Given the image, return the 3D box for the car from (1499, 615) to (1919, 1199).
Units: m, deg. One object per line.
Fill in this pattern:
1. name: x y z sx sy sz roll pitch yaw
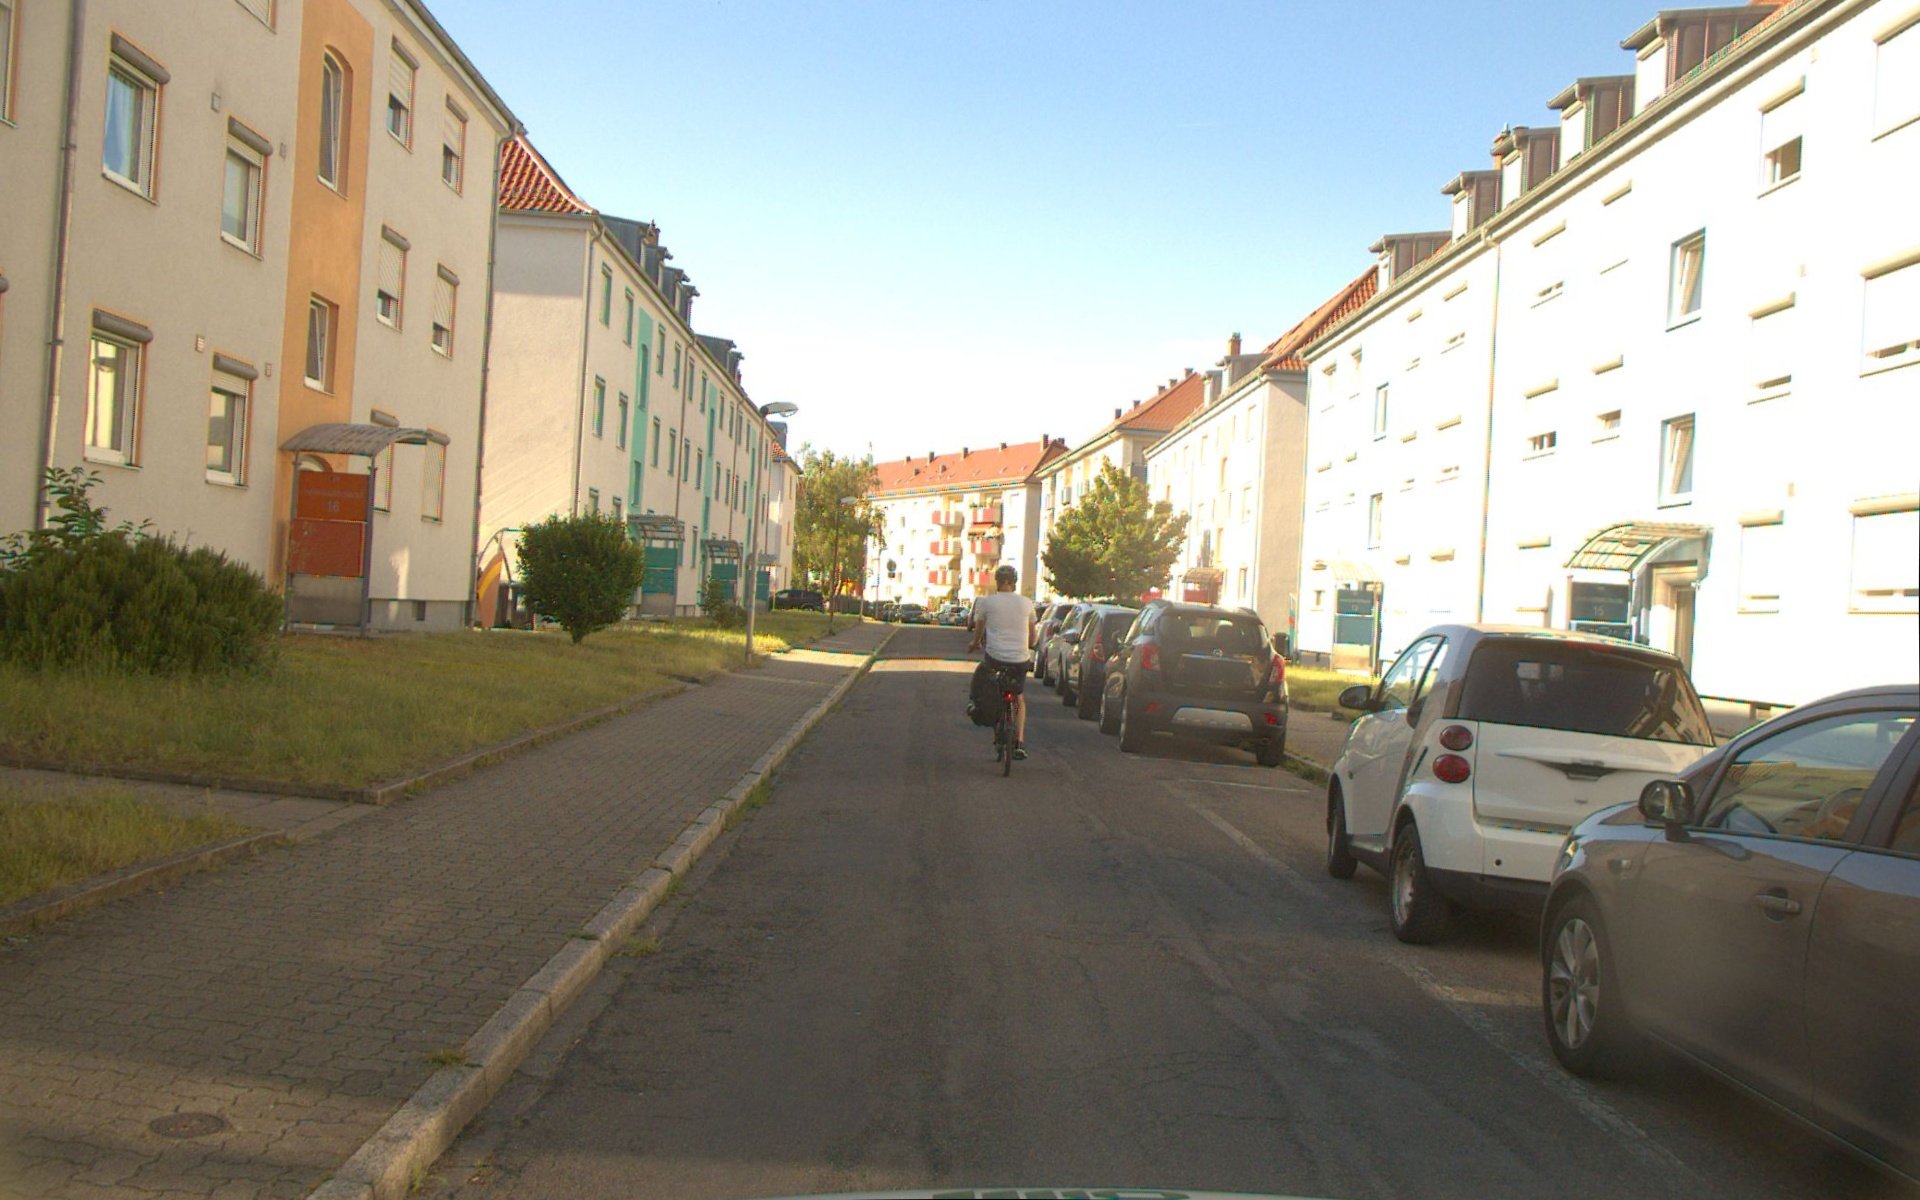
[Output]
1. car: 3.075 0.894 4.552 1.660 1.517 3.982 5 0 -2

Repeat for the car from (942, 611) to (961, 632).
1. car: -0.693 1.743 132.369 1.354 1.523 3.075 4 0 -3

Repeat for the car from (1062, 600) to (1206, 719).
1. car: 2.460 0.800 24.288 1.608 1.524 4.156 3 0 0

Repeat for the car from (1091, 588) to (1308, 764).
1. car: 2.637 0.774 19.195 1.747 1.676 4.468 4 0 0

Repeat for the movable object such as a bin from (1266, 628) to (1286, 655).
1. movable object such as a bin: 10.912 1.420 57.101 0.512 0.902 0.633 3 0 -1

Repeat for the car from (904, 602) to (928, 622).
1. car: -3.093 0.855 115.851 1.441 1.359 3.137 0 0 -6

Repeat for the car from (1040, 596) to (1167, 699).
1. car: 2.511 0.788 29.897 1.657 1.602 4.433 4 0 -2

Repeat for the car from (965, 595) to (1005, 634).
1. car: 1.248 0.700 82.890 1.641 1.769 3.940 4 0 -3

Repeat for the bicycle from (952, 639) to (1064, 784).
1. bicycle: 0.402 0.966 14.987 0.792 1.148 2.100 2 0 -4

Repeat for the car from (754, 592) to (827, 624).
1. car: -9.890 0.470 96.917 4.149 1.667 1.581 3 0 -5

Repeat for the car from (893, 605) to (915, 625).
1. car: -4.078 1.083 120.179 1.441 1.359 3.137 -1 0 -5

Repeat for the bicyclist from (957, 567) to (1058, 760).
1. bicyclist: 0.416 0.561 15.008 0.792 1.672 0.898 2 0 -4

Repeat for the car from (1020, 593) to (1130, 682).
1. car: 2.425 0.751 35.947 1.716 1.645 4.449 5 0 -3

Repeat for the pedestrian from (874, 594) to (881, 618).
1. pedestrian: -5.591 0.405 111.856 0.425 1.602 0.543 1 0 -1

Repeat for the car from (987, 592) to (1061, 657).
1. car: 1.850 0.689 48.804 1.824 1.697 4.126 5 0 -1

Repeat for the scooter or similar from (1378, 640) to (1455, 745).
1. scooter or similar: 5.490 1.093 19.950 0.474 1.169 1.589 0 0 -1

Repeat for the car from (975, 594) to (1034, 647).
1. car: 1.556 0.714 59.381 1.667 1.699 4.377 4 0 -3

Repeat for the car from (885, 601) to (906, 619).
1. car: -4.972 0.781 126.825 1.440 1.359 3.137 -1 0 -5

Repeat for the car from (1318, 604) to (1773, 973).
1. car: 2.990 0.862 9.026 1.449 1.555 2.942 5 0 3

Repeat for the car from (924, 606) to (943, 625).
1. car: -2.356 1.350 144.977 1.440 1.542 3.075 4 0 -3

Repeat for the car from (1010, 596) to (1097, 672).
1. car: 2.261 0.797 41.151 1.678 1.623 4.396 5 0 -1
